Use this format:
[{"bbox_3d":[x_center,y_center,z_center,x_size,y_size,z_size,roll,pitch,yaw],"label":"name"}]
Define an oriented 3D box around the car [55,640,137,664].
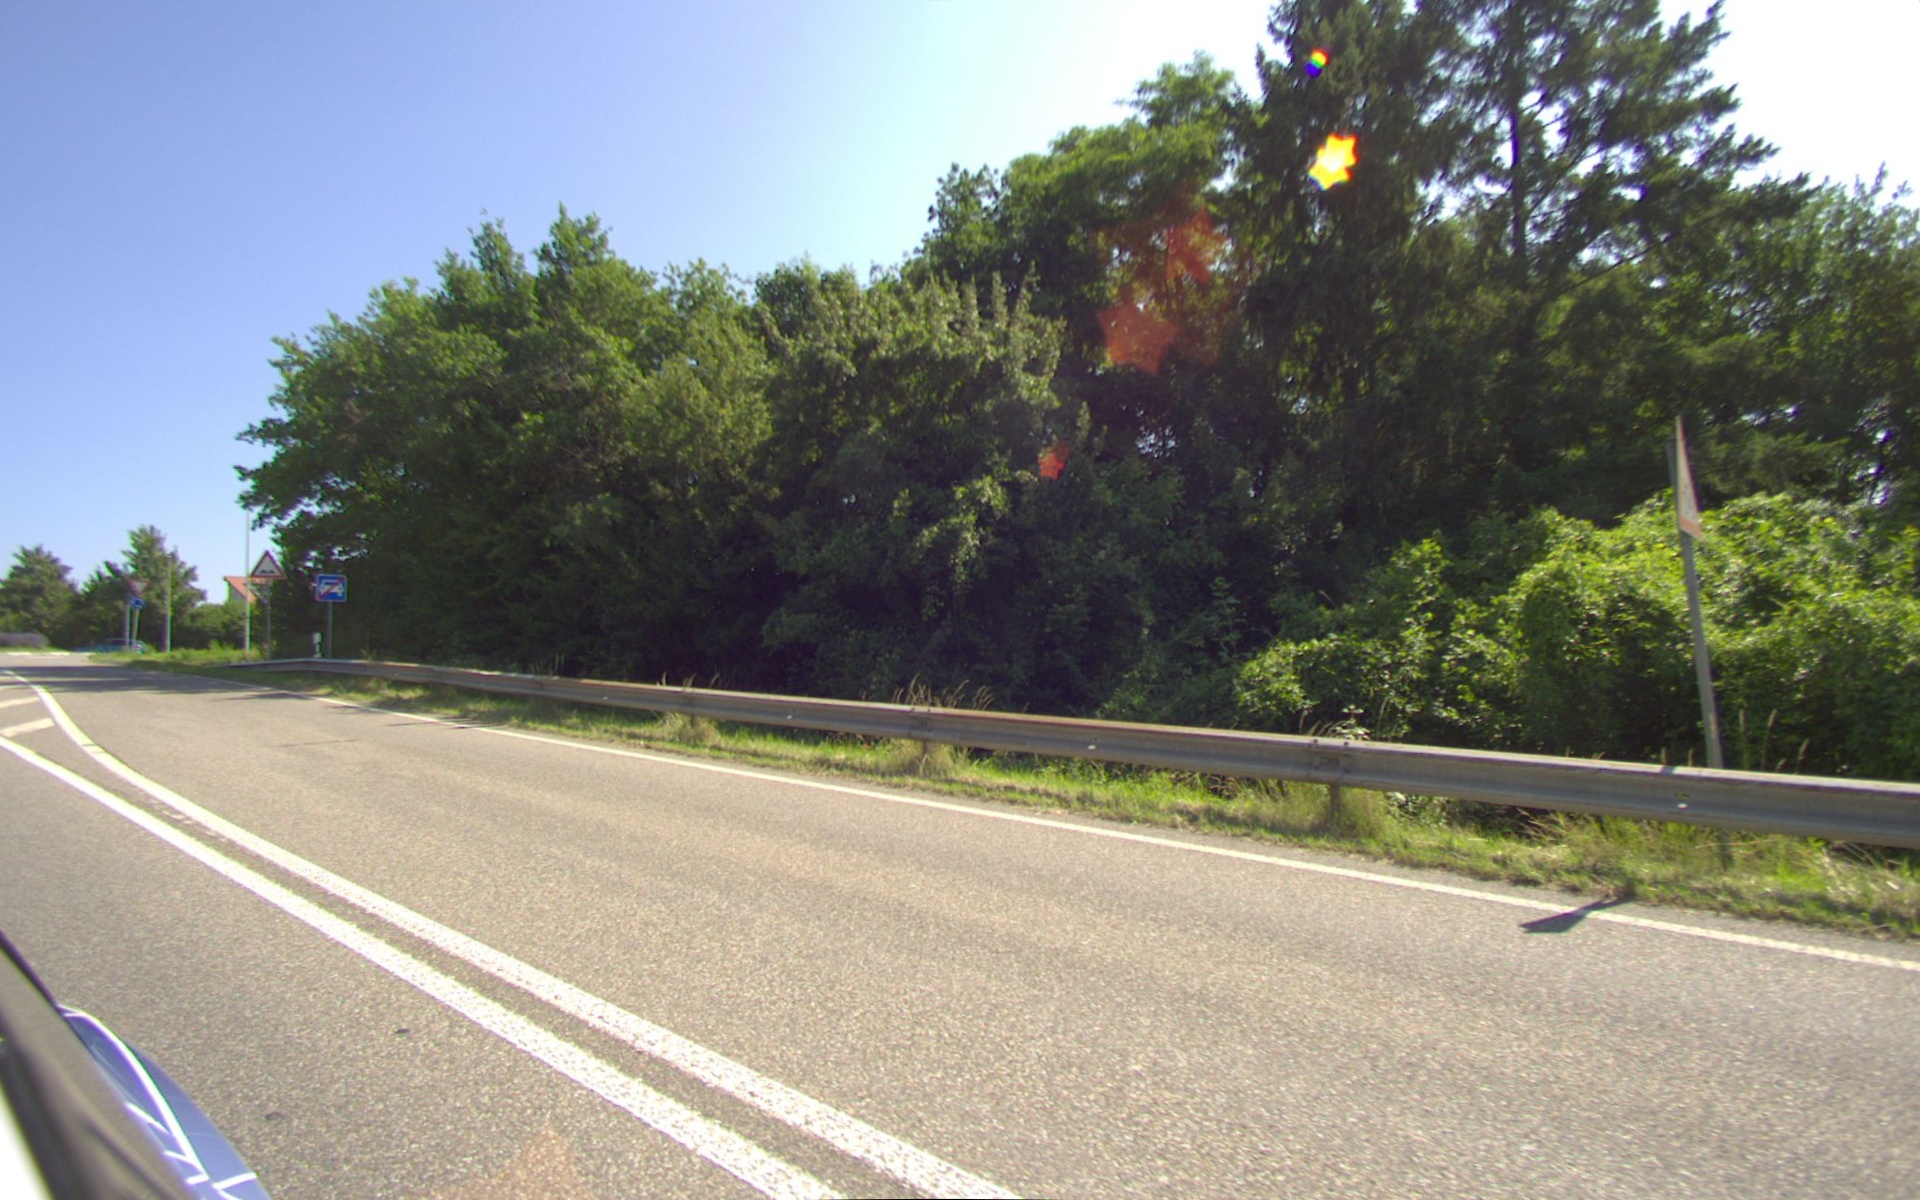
[{"bbox_3d":[-59.427,3.600,69.656,3.936,1.588,1.652,0,-4,-9],"label":"car"}]
